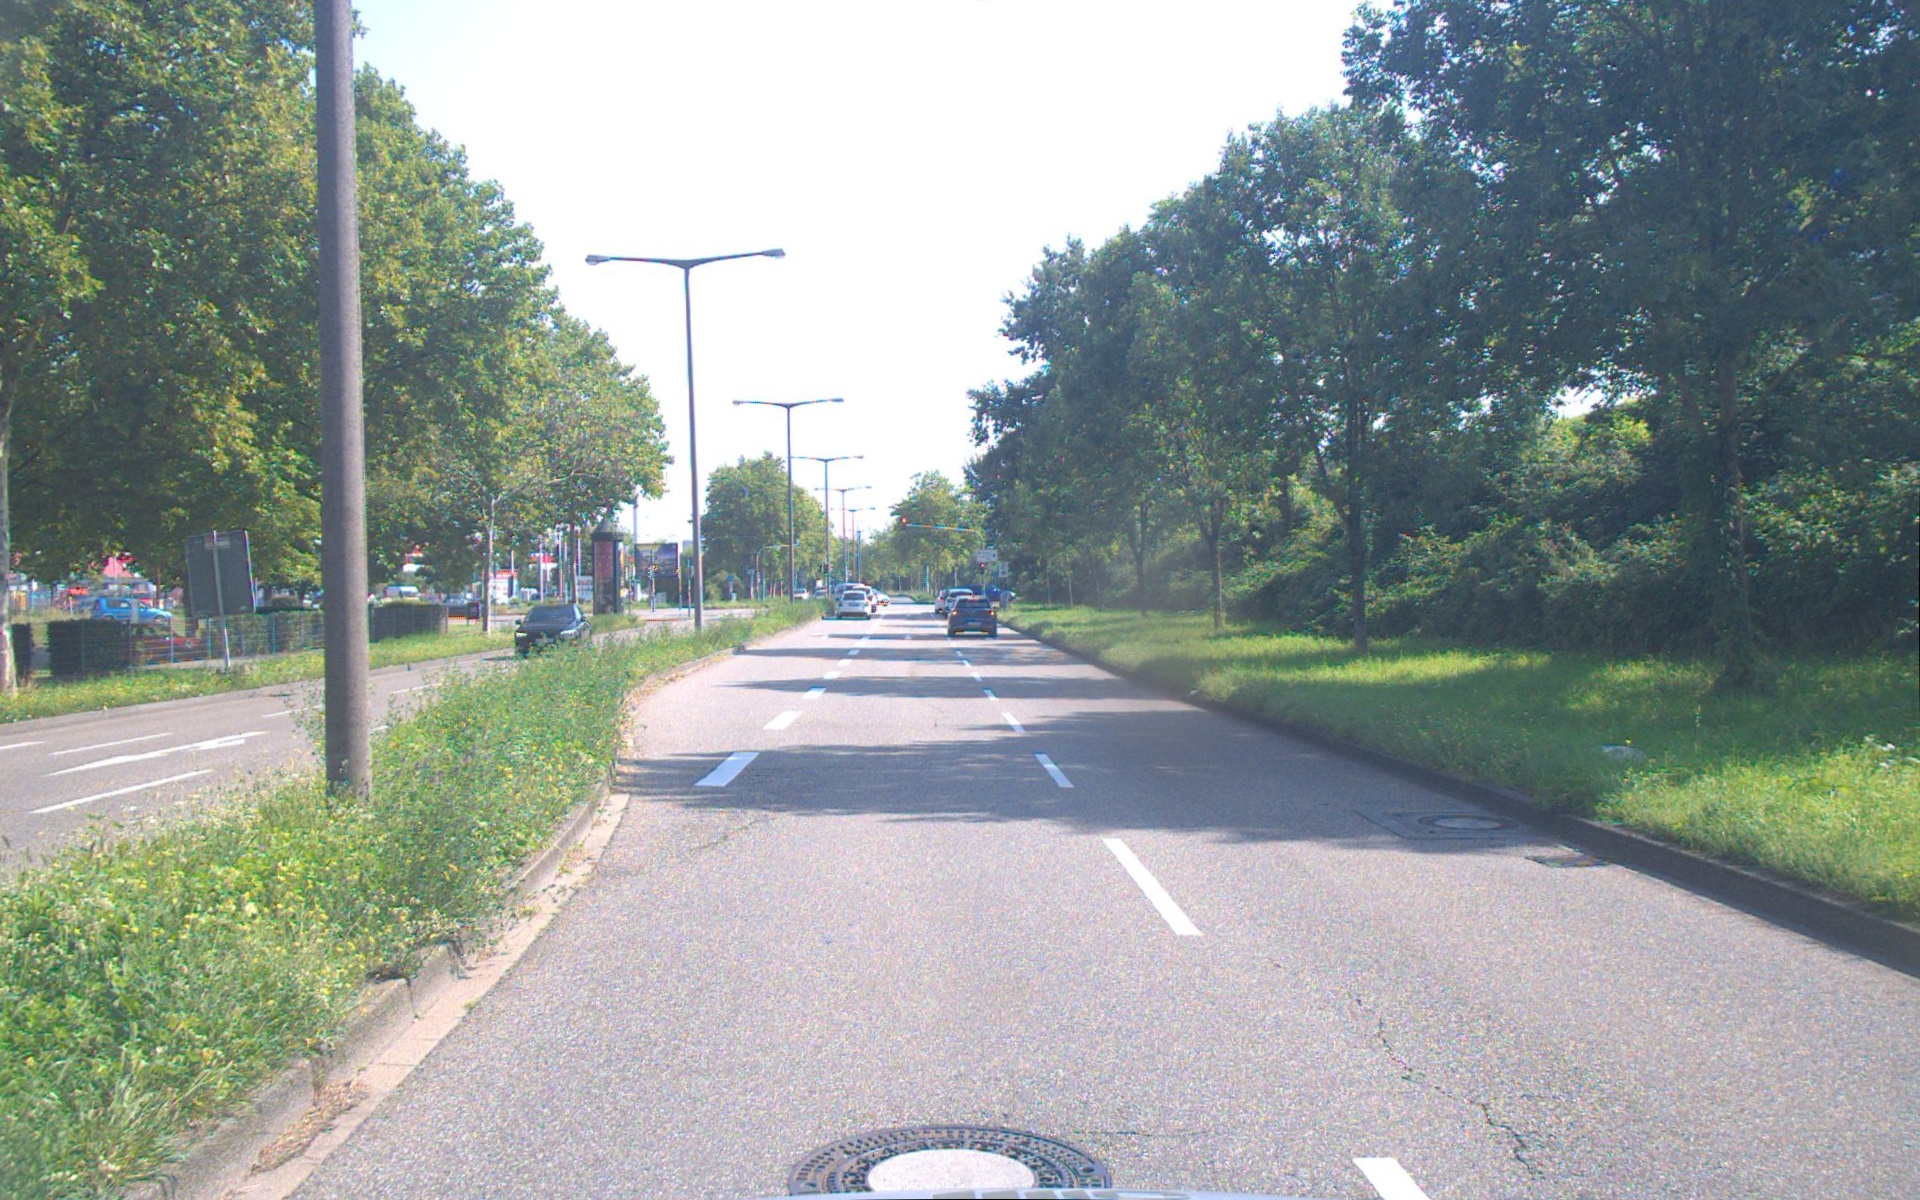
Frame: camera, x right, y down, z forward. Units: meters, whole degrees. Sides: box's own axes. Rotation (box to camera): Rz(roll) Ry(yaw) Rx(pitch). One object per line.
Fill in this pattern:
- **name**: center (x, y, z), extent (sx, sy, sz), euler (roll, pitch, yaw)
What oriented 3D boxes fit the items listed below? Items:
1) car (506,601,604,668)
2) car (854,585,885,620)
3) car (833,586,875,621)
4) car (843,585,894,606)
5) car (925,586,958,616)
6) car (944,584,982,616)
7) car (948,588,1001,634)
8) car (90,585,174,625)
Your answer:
- **car**: center (-11.403, 0.944, 46.833), extent (1.954, 1.588, 3.999), euler (1, 3, -3)
- **car**: center (-5.837, 0.116, 107.170), extent (1.953, 2.048, 4.000), euler (1, 3, -2)
- **car**: center (-5.460, 0.159, 85.548), extent (1.953, 1.731, 3.999), euler (-1, 0, -2)
- **car**: center (-7.609, -0.349, 137.638), extent (3.902, 1.659, 1.701), euler (-1, 0, 14)
- **car**: center (-1.200, 0.035, 105.708), extent (1.954, 1.682, 3.999), euler (2, 3, -2)
- **car**: center (0.149, 0.011, 92.562), extent (1.953, 1.683, 3.998), euler (-1, 0, -2)
- **car**: center (0.488, 0.371, 60.151), extent (1.744, 1.452, 4.000), euler (1, 3, -2)
- **car**: center (-45.398, 0.262, 90.676), extent (3.950, 2.048, 1.978), euler (-1, 3, -33)
